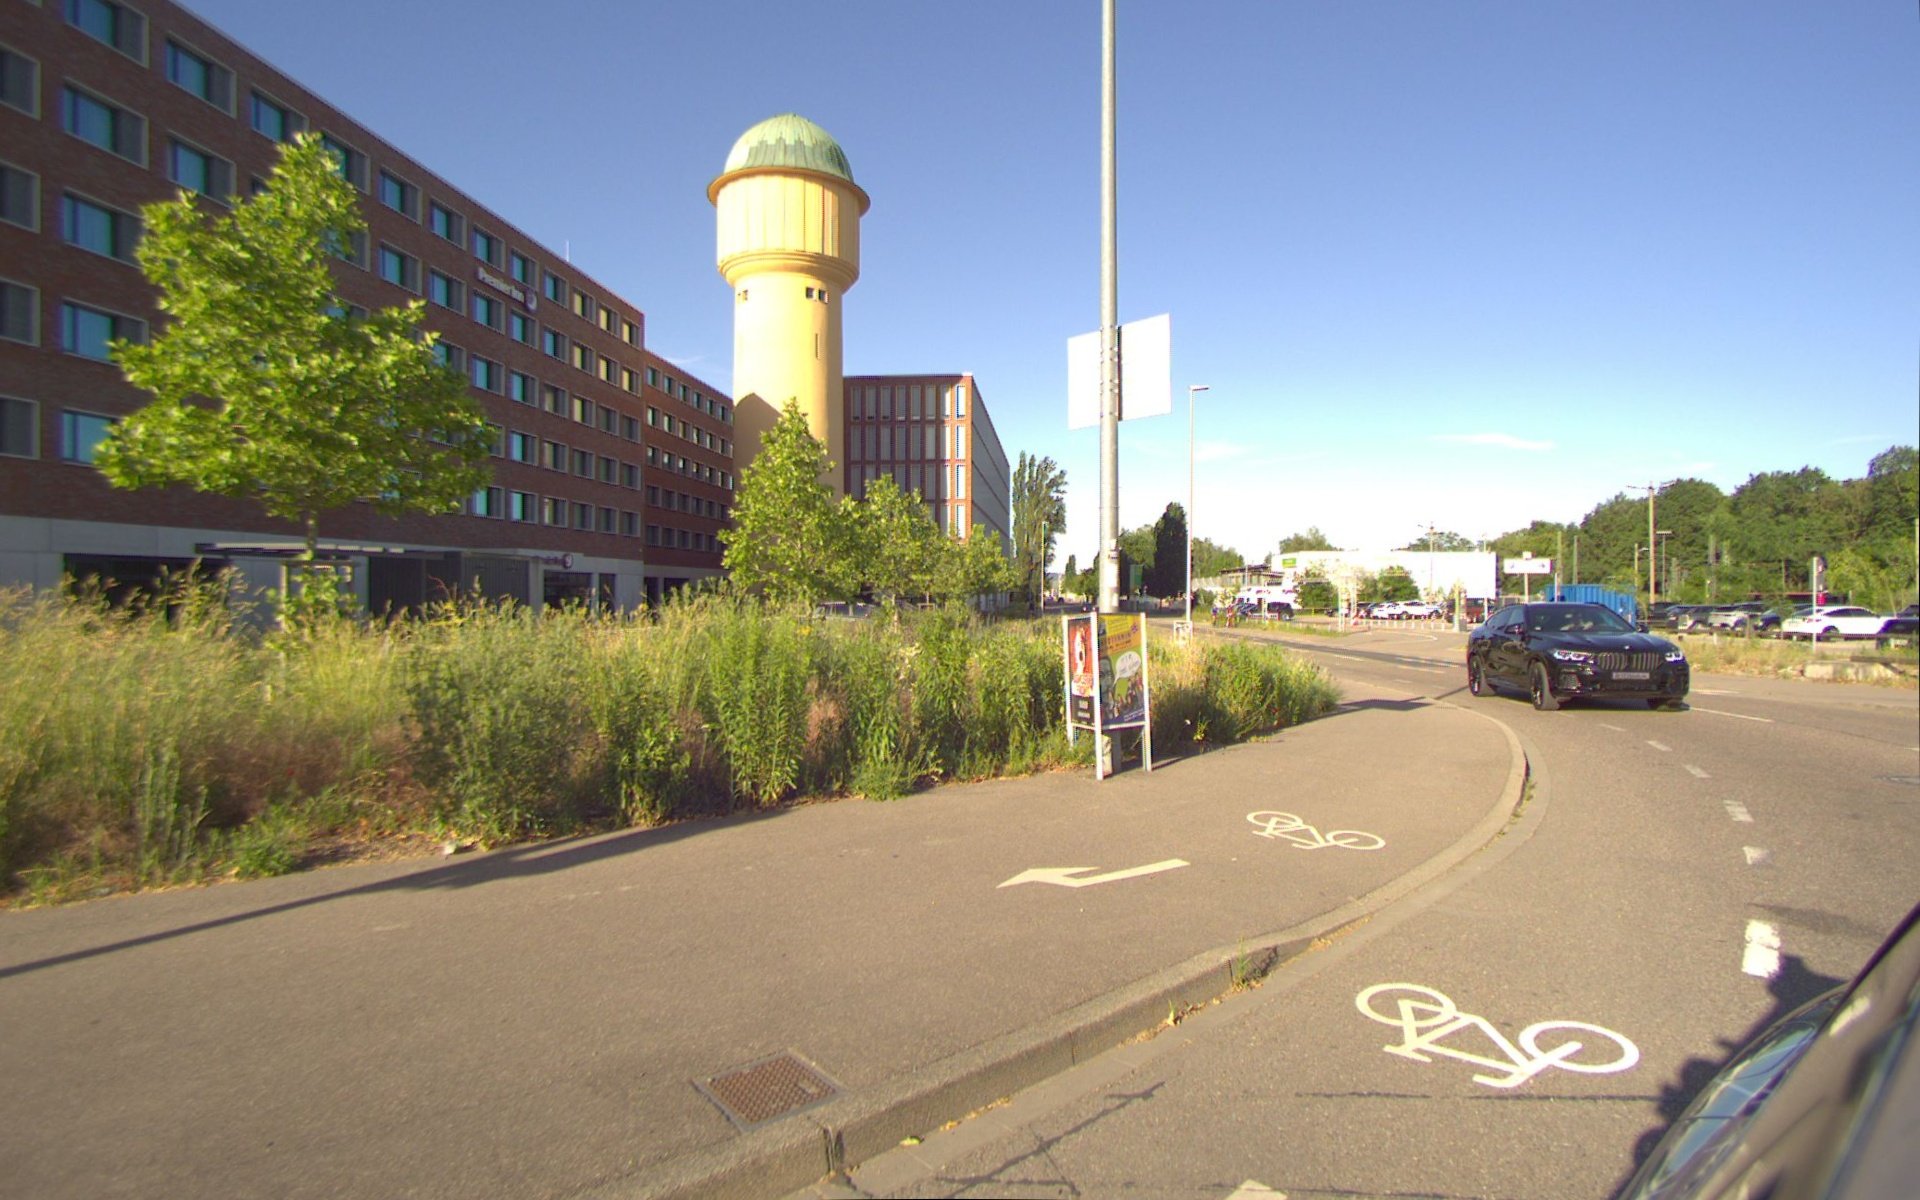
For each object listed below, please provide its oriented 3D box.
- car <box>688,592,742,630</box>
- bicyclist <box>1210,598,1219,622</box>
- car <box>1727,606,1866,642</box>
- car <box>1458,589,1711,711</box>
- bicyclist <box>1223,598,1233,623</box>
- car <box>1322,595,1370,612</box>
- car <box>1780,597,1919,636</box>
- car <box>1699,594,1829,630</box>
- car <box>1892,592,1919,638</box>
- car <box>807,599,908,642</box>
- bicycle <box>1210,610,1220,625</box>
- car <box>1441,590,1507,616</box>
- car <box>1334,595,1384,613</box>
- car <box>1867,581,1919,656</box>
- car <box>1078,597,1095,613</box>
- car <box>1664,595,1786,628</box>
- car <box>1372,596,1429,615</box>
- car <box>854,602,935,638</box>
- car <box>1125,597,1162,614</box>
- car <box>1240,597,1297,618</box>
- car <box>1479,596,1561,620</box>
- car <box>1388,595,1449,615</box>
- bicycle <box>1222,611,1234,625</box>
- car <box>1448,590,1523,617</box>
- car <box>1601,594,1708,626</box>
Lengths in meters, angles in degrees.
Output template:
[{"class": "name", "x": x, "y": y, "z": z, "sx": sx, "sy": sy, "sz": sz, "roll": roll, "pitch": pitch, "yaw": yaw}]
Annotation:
[{"class": "car", "x": -15.285, "y": 0.669, "z": 63.372, "sx": 1.836, "sy": 2.293, "sz": 4.931, "roll": -1, "pitch": 0, "yaw": 5}, {"class": "bicyclist", "x": 20.059, "y": 0.794, "z": 79.744, "sx": 0.558, "sy": 1.895, "sz": 0.852, "roll": -1, "pitch": -1, "yaw": 4}, {"class": "car", "x": 36.333, "y": 1.030, "z": 44.035, "sx": 4.365, "sy": 1.461, "sz": 1.868, "roll": -1, "pitch": -1, "yaw": 2}, {"class": "car", "x": 10.162, "y": 0.730, "z": 16.984, "sx": 2.016, "sy": 1.736, "sz": 4.734, "roll": -2, "pitch": 0, "yaw": 11}, {"class": "bicyclist", "x": 20.586, "y": 0.790, "z": 77.727, "sx": 0.558, "sy": 1.895, "sz": 0.852, "roll": -1, "pitch": -1, "yaw": 4}, {"class": "car", "x": 38.682, "y": 0.365, "z": 101.430, "sx": 4.215, "sy": 1.629, "sz": 1.747, "roll": -2, "pitch": -1, "yaw": -16}, {"class": "car", "x": 36.490, "y": 0.665, "z": 41.295, "sx": 4.365, "sy": 1.395, "sz": 1.868, "roll": -2, "pitch": -1, "yaw": 2}, {"class": "car", "x": 37.003, "y": 0.542, "z": 46.644, "sx": 4.365, "sy": 1.485, "sz": 1.868, "roll": -2, "pitch": -1, "yaw": 2}, {"class": "car", "x": 36.074, "y": 0.487, "z": 35.837, "sx": 4.125, "sy": 1.610, "sz": 1.985, "roll": -2, "pitch": -1, "yaw": 2}, {"class": "car", "x": -4.569, "y": 0.904, "z": 45.684, "sx": 4.256, "sy": 1.851, "sz": 1.997, "roll": -1, "pitch": 0, "yaw": 5}, {"class": "bicycle", "x": 20.074, "y": 1.360, "z": 79.777, "sx": 0.494, "sy": 1.139, "sz": 1.563, "roll": -1, "pitch": -1, "yaw": 5}, {"class": "car", "x": 38.659, "y": 0.249, "z": 76.168, "sx": 4.010, "sy": 1.800, "sz": 1.864, "roll": -2, "pitch": -1, "yaw": 11}, {"class": "car", "x": 38.987, "y": 0.421, "z": 98.841, "sx": 4.231, "sy": 1.645, "sz": 1.789, "roll": -2, "pitch": -1, "yaw": -16}, {"class": "car", "x": 24.803, "y": 0.507, "z": 24.076, "sx": 4.455, "sy": 1.765, "sz": 2.067, "roll": 2, "pitch": -1, "yaw": 3}, {"class": "car", "x": 16.699, "y": 0.697, "z": 134.152, "sx": 1.964, "sy": 2.039, "sz": 3.996, "roll": -1, "pitch": 0, "yaw": 4}, {"class": "car", "x": 37.218, "y": 0.557, "z": 49.305, "sx": 4.365, "sy": 1.447, "sz": 1.868, "roll": -2, "pitch": -1, "yaw": 2}, {"class": "car", "x": 38.135, "y": 0.468, "z": 87.680, "sx": 4.080, "sy": 1.505, "sz": 1.761, "roll": -2, "pitch": -1, "yaw": 0}, {"class": "car", "x": -3.821, "y": 1.140, "z": 59.435, "sx": 4.454, "sy": 2.039, "sz": 1.996, "roll": -1, "pitch": -1, "yaw": 6}, {"class": "car", "x": 30.093, "y": 0.874, "z": 166.217, "sx": 5.670, "sy": 2.736, "sz": 1.997, "roll": -1, "pitch": -1, "yaw": 4}, {"class": "car", "x": 28.104, "y": 0.667, "z": 92.379, "sx": 4.571, "sy": 1.763, "sz": 1.800, "roll": -2, "pitch": -1, "yaw": 3}, {"class": "car", "x": 37.543, "y": 0.558, "z": 67.943, "sx": 4.374, "sy": 1.462, "sz": 1.916, "roll": -2, "pitch": -1, "yaw": 10}, {"class": "car", "x": 38.628, "y": 0.433, "z": 85.323, "sx": 4.217, "sy": 1.566, "sz": 1.827, "roll": -2, "pitch": -1, "yaw": 0}, {"class": "bicycle", "x": 20.585, "y": 1.366, "z": 77.735, "sx": 0.548, "sy": 1.078, "sz": 1.722, "roll": -1, "pitch": -1, "yaw": 5}, {"class": "car", "x": 37.857, "y": 0.258, "z": 73.052, "sx": 4.375, "sy": 1.800, "sz": 1.864, "roll": -2, "pitch": -1, "yaw": 11}, {"class": "car", "x": 37.527, "y": 0.543, "z": 54.739, "sx": 4.365, "sy": 1.533, "sz": 1.868, "roll": -2, "pitch": -1, "yaw": 2}]
